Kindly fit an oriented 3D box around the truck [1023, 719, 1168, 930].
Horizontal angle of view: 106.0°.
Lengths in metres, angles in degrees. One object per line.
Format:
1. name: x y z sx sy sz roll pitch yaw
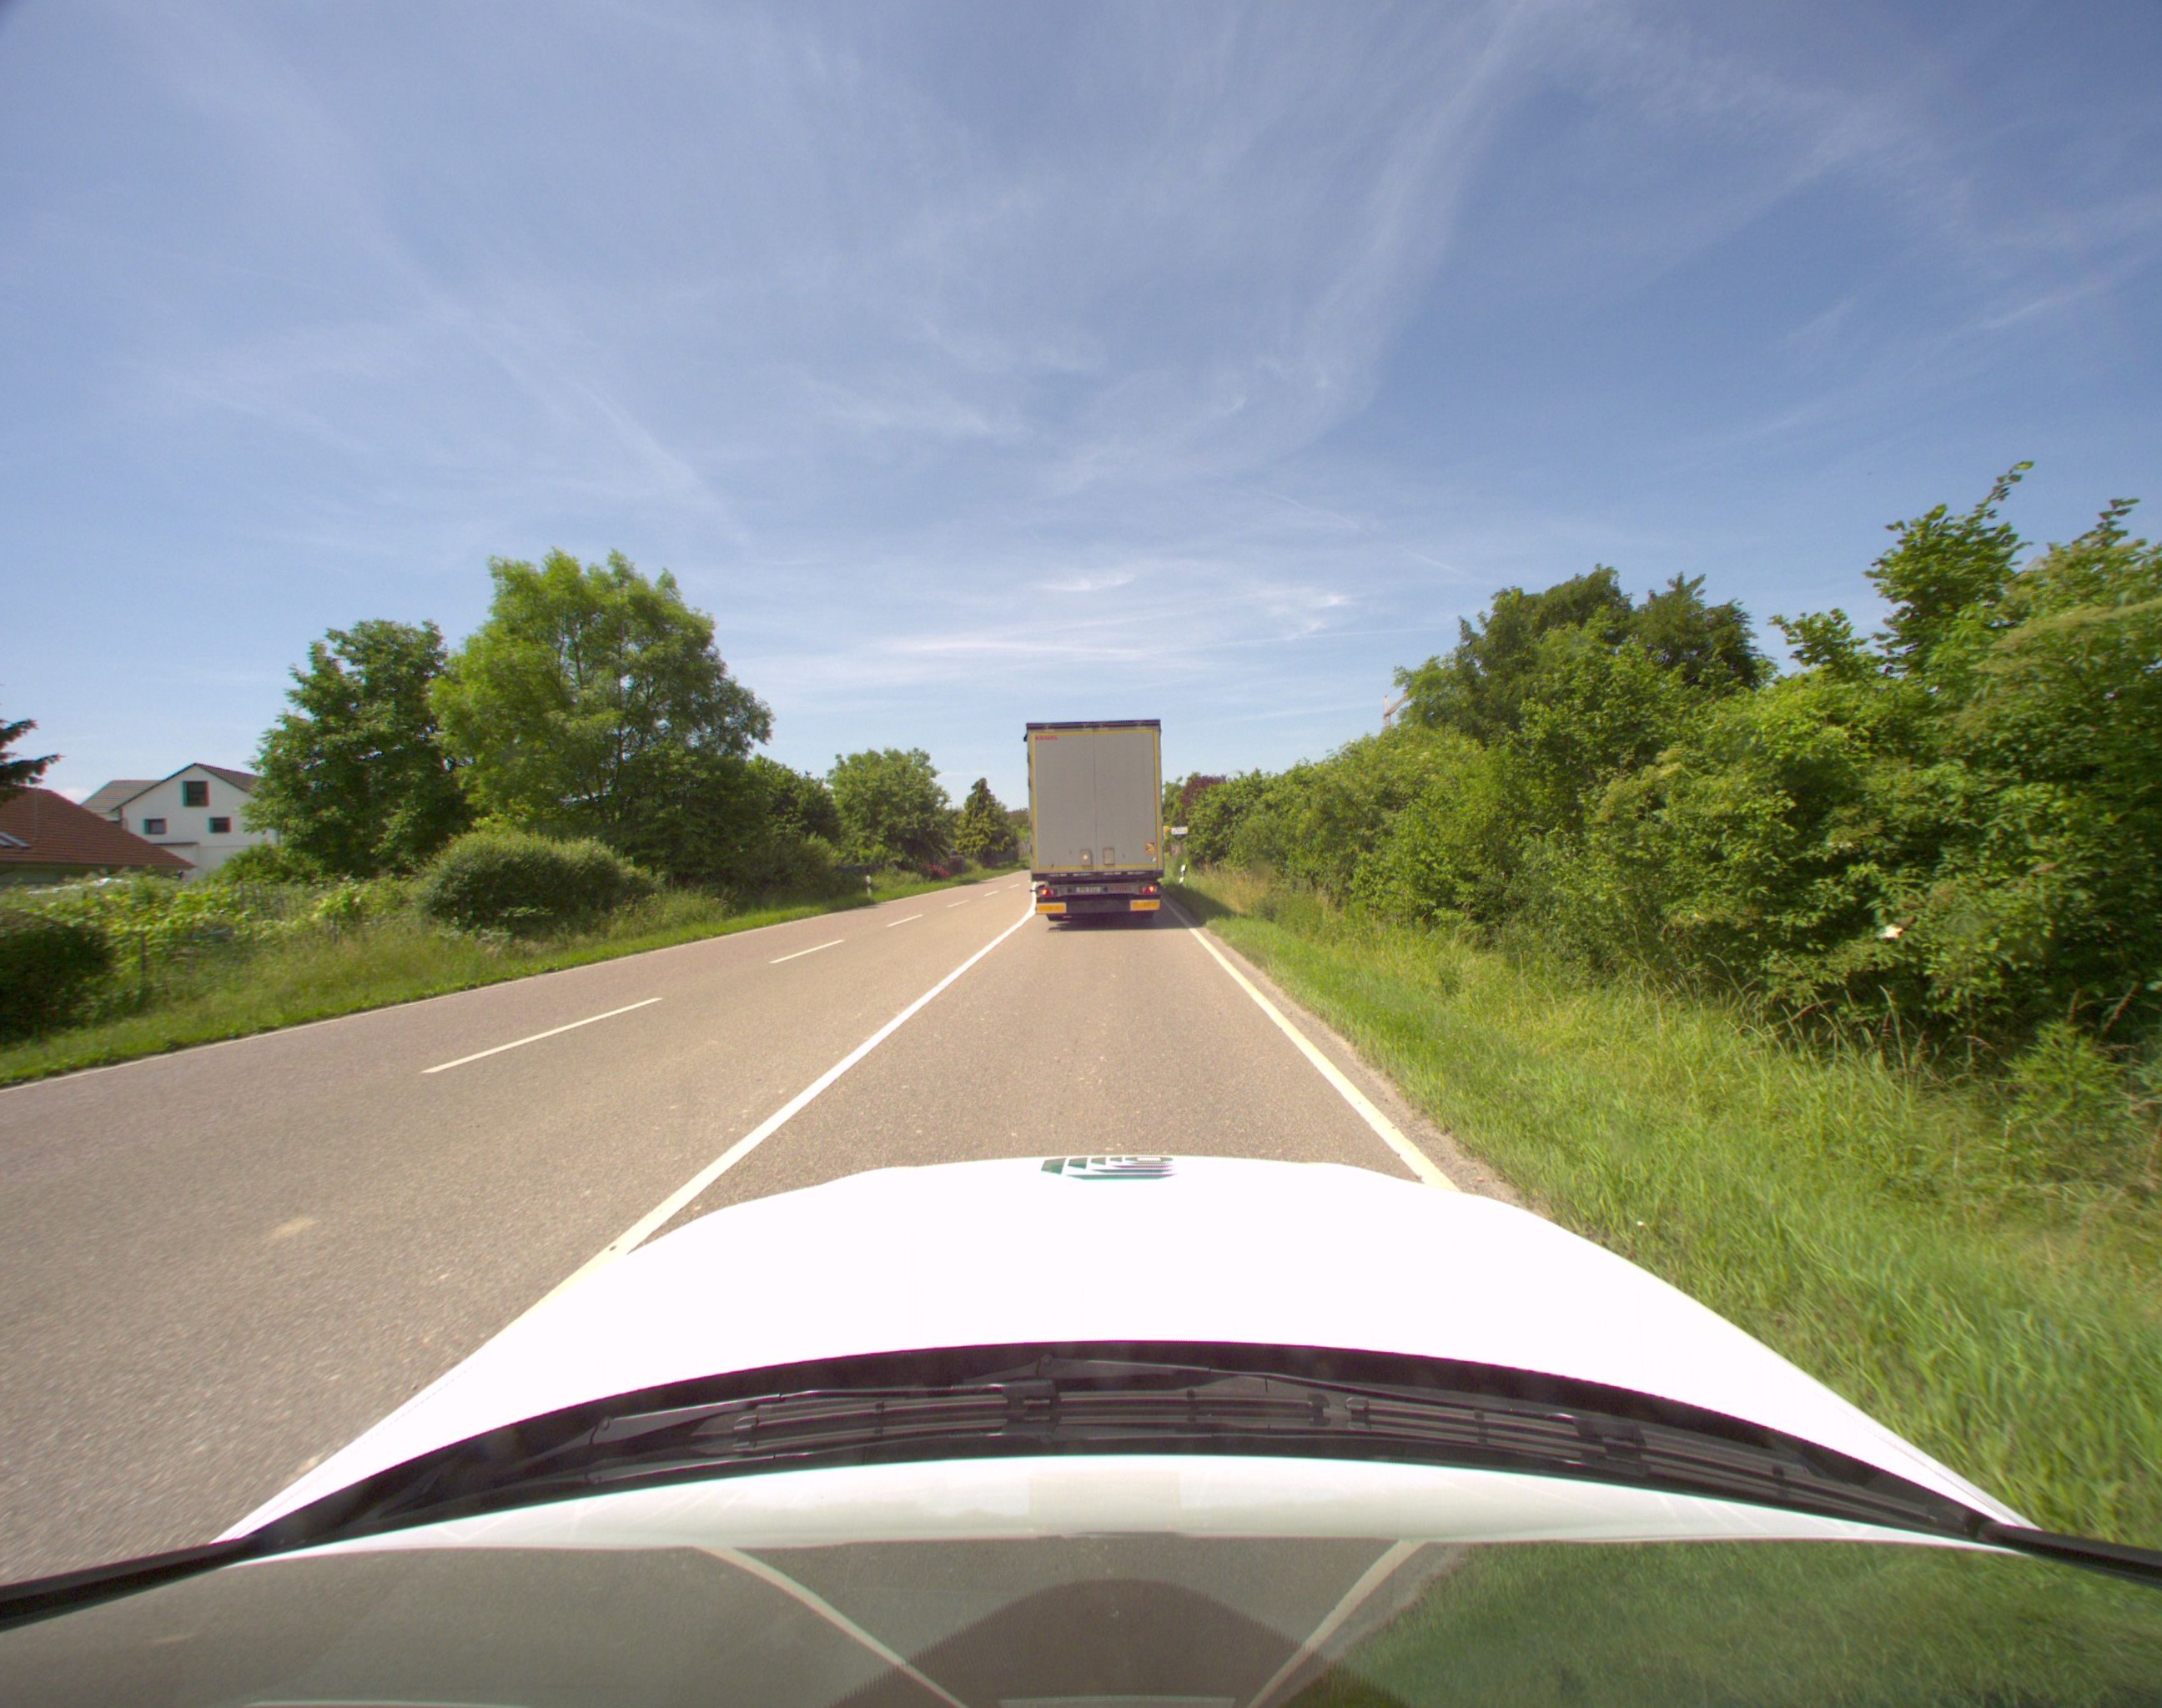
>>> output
1. truck: 0.353 -0.561 19.732 2.638 3.917 8.826 -1 0 1
